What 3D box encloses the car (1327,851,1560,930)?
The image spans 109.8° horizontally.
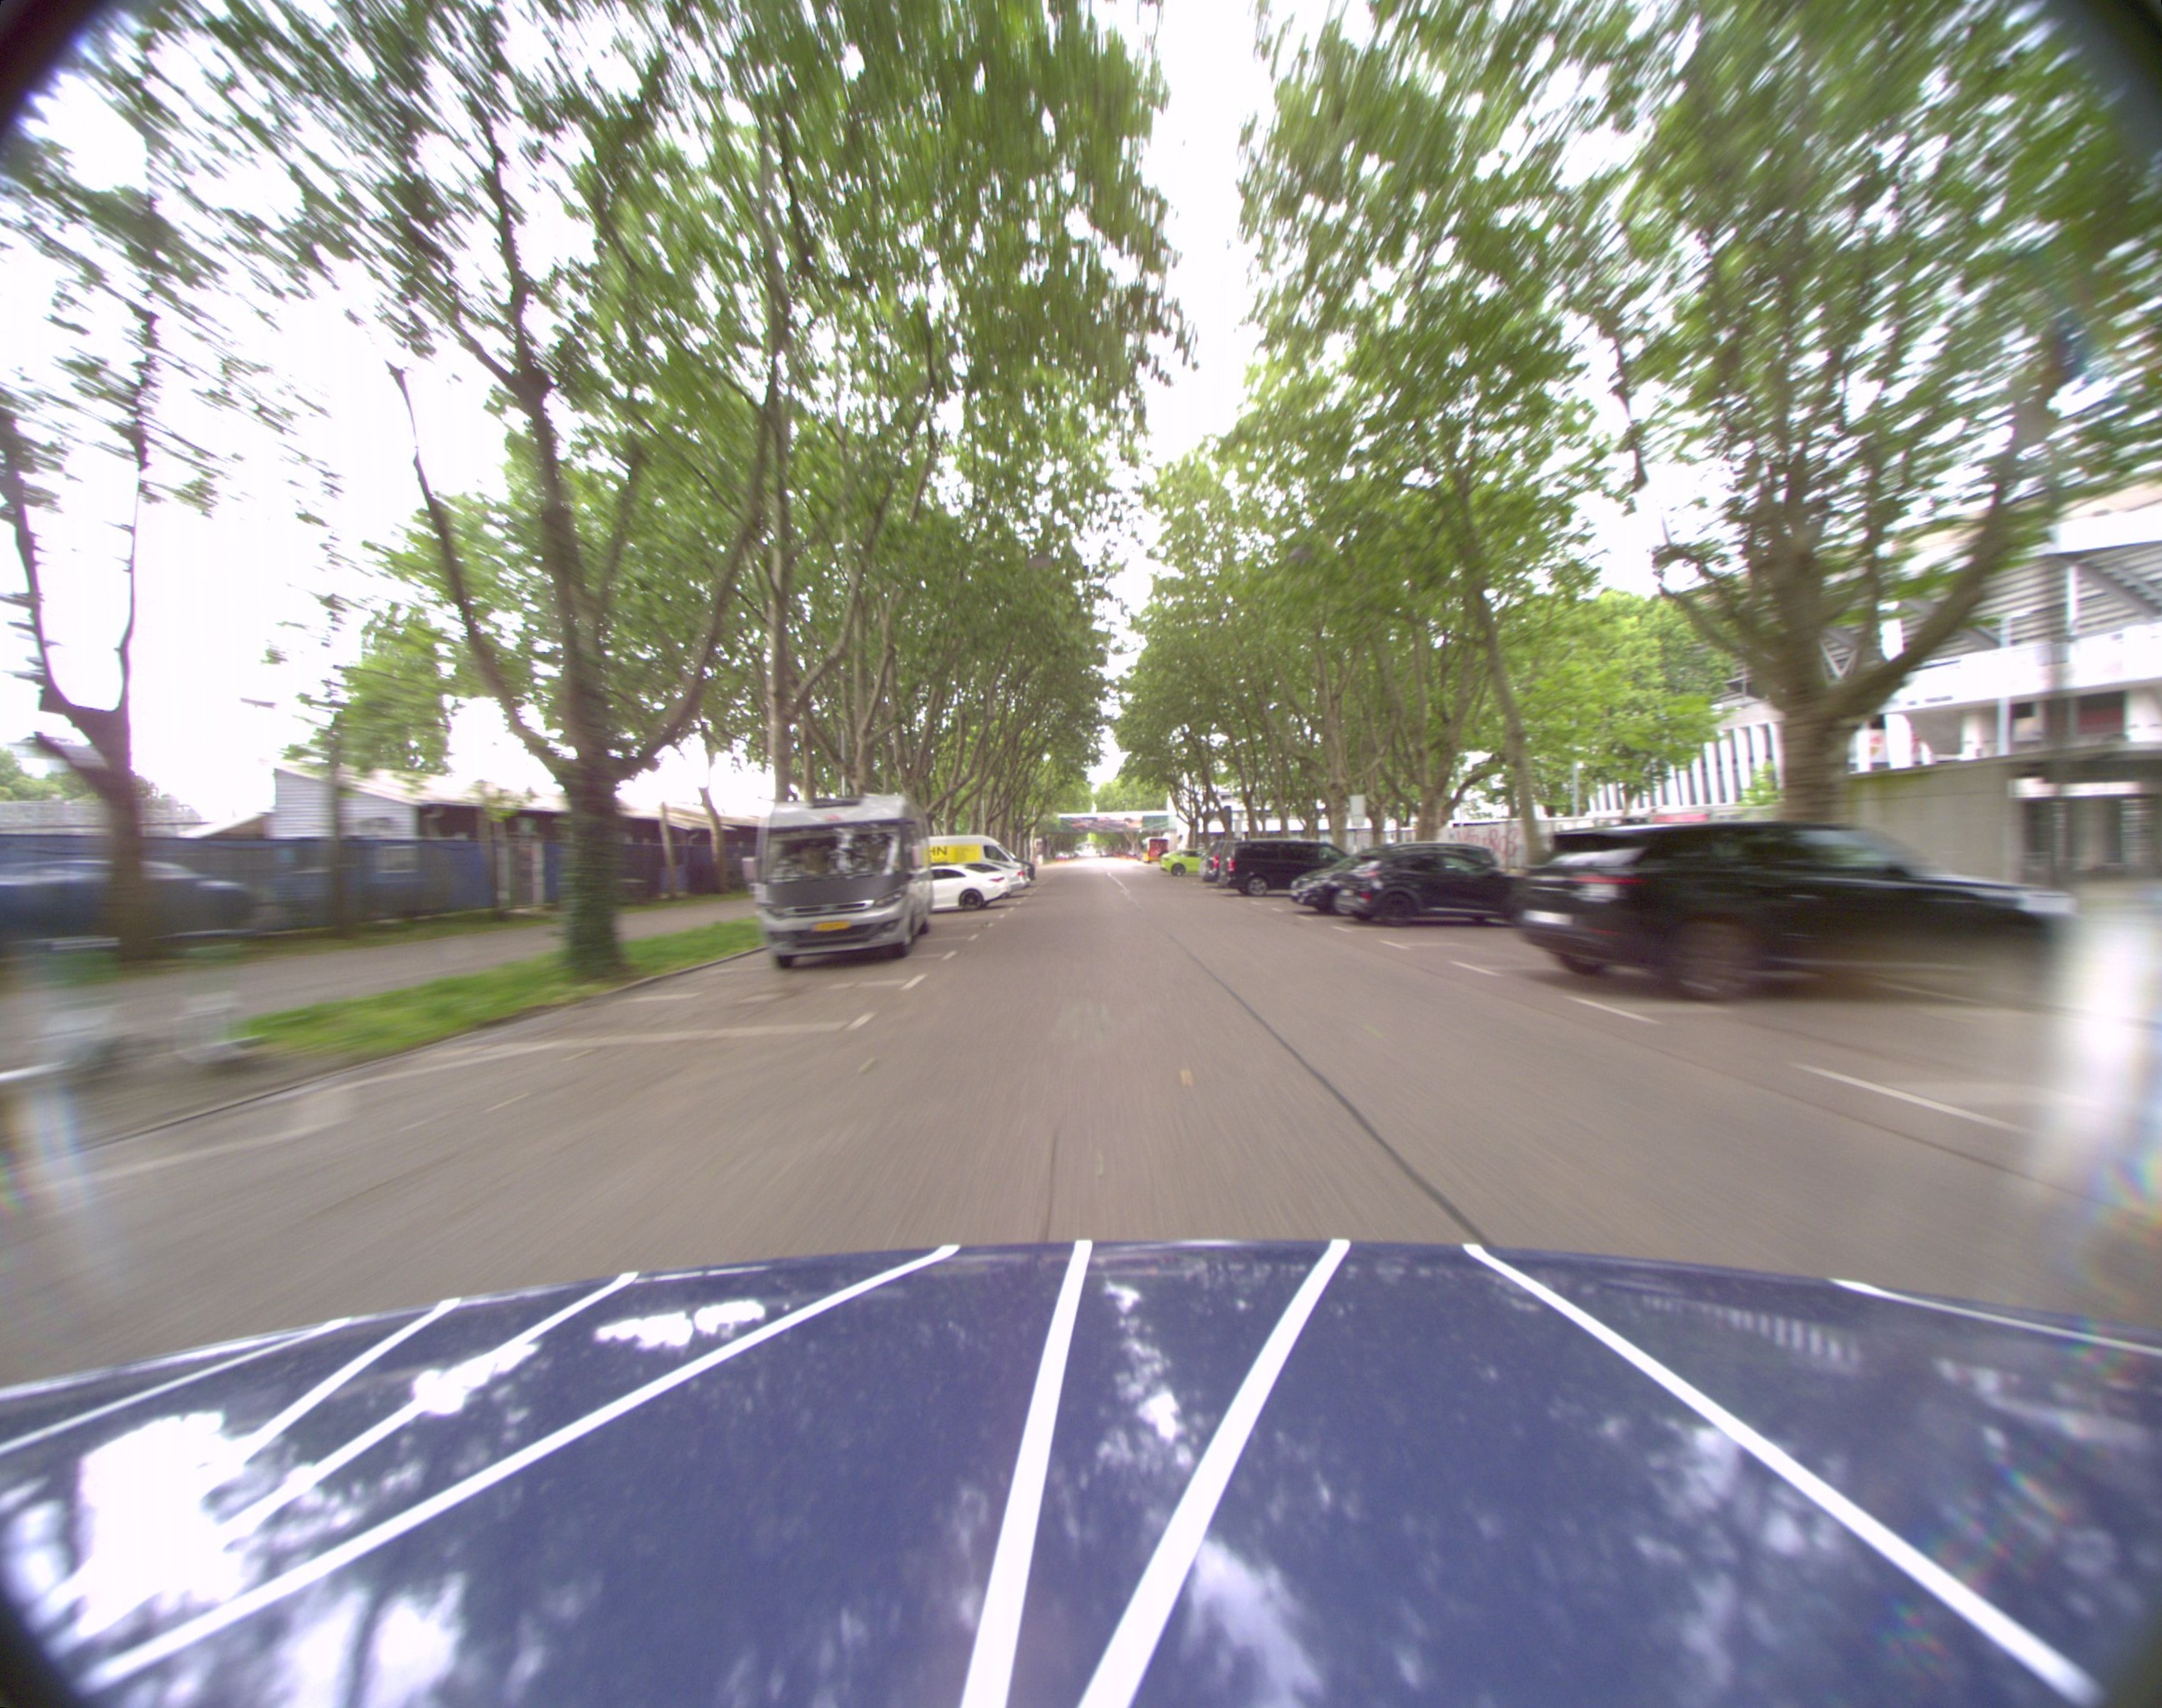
[{"bbox_3d":[7.297,0.704,15.566,3.907,1.485,1.753,0,1,-1],"label":"car"}]

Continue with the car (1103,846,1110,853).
[{"bbox_3d":[6.568,-1.170,195.638,1.757,1.652,3.999,-3,1,1],"label":"car"}]

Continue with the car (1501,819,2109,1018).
[{"bbox_3d":[7.267,0.609,8.009,4.665,1.809,1.806,1,0,0],"label":"car"}]

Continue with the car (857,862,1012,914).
[{"bbox_3d":[-4.381,1.012,23.153,4.330,1.294,1.700,-3,1,1],"label":"car"}]

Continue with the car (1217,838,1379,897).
[{"bbox_3d":[7.252,0.430,25.819,4.917,1.913,2.208,0,1,1],"label":"car"}]

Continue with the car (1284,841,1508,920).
[{"bbox_3d":[7.371,0.608,18.146,4.590,1.771,1.798,0,0,2],"label":"car"}]

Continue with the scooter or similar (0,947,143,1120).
[{"bbox_3d":[-8.179,1.382,5.765,0.386,1.177,1.273,-2,1,6],"label":"scooter or similar"}]

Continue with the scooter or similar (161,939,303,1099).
[{"bbox_3d":[-7.545,1.406,6.747,1.270,1.120,0.602,3,1,32],"label":"scooter or similar"}]

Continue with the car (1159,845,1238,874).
[{"bbox_3d":[7.027,0.322,45.688,4.527,1.608,1.758,-1,1,3],"label":"car"}]

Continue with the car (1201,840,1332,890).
[{"bbox_3d":[7.447,0.417,30.797,4.774,1.913,2.017,0,1,-1],"label":"car"}]

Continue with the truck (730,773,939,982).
[{"bbox_3d":[-4.254,0.307,14.792,2.466,2.921,7.532,-3,1,-8],"label":"truck"}]

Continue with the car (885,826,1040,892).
[{"bbox_3d":[-5.464,0.197,35.744,6.901,2.680,2.126,-3,1,-4],"label":"car"}]

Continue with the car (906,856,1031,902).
[{"bbox_3d":[-4.070,0.896,28.042,4.372,1.437,1.611,-3,1,-5],"label":"car"}]

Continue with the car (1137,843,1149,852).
[{"bbox_3d":[12.143,-1.272,149.434,1.929,1.721,4.233,2,1,0],"label":"car"}]

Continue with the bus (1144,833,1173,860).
[{"bbox_3d":[9.487,-0.927,94.536,2.658,3.136,12.368,1,1,2],"label":"bus"}]

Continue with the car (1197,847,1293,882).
[{"bbox_3d":[7.747,0.485,36.075,4.117,1.559,1.757,0,1,-4],"label":"car"}]
